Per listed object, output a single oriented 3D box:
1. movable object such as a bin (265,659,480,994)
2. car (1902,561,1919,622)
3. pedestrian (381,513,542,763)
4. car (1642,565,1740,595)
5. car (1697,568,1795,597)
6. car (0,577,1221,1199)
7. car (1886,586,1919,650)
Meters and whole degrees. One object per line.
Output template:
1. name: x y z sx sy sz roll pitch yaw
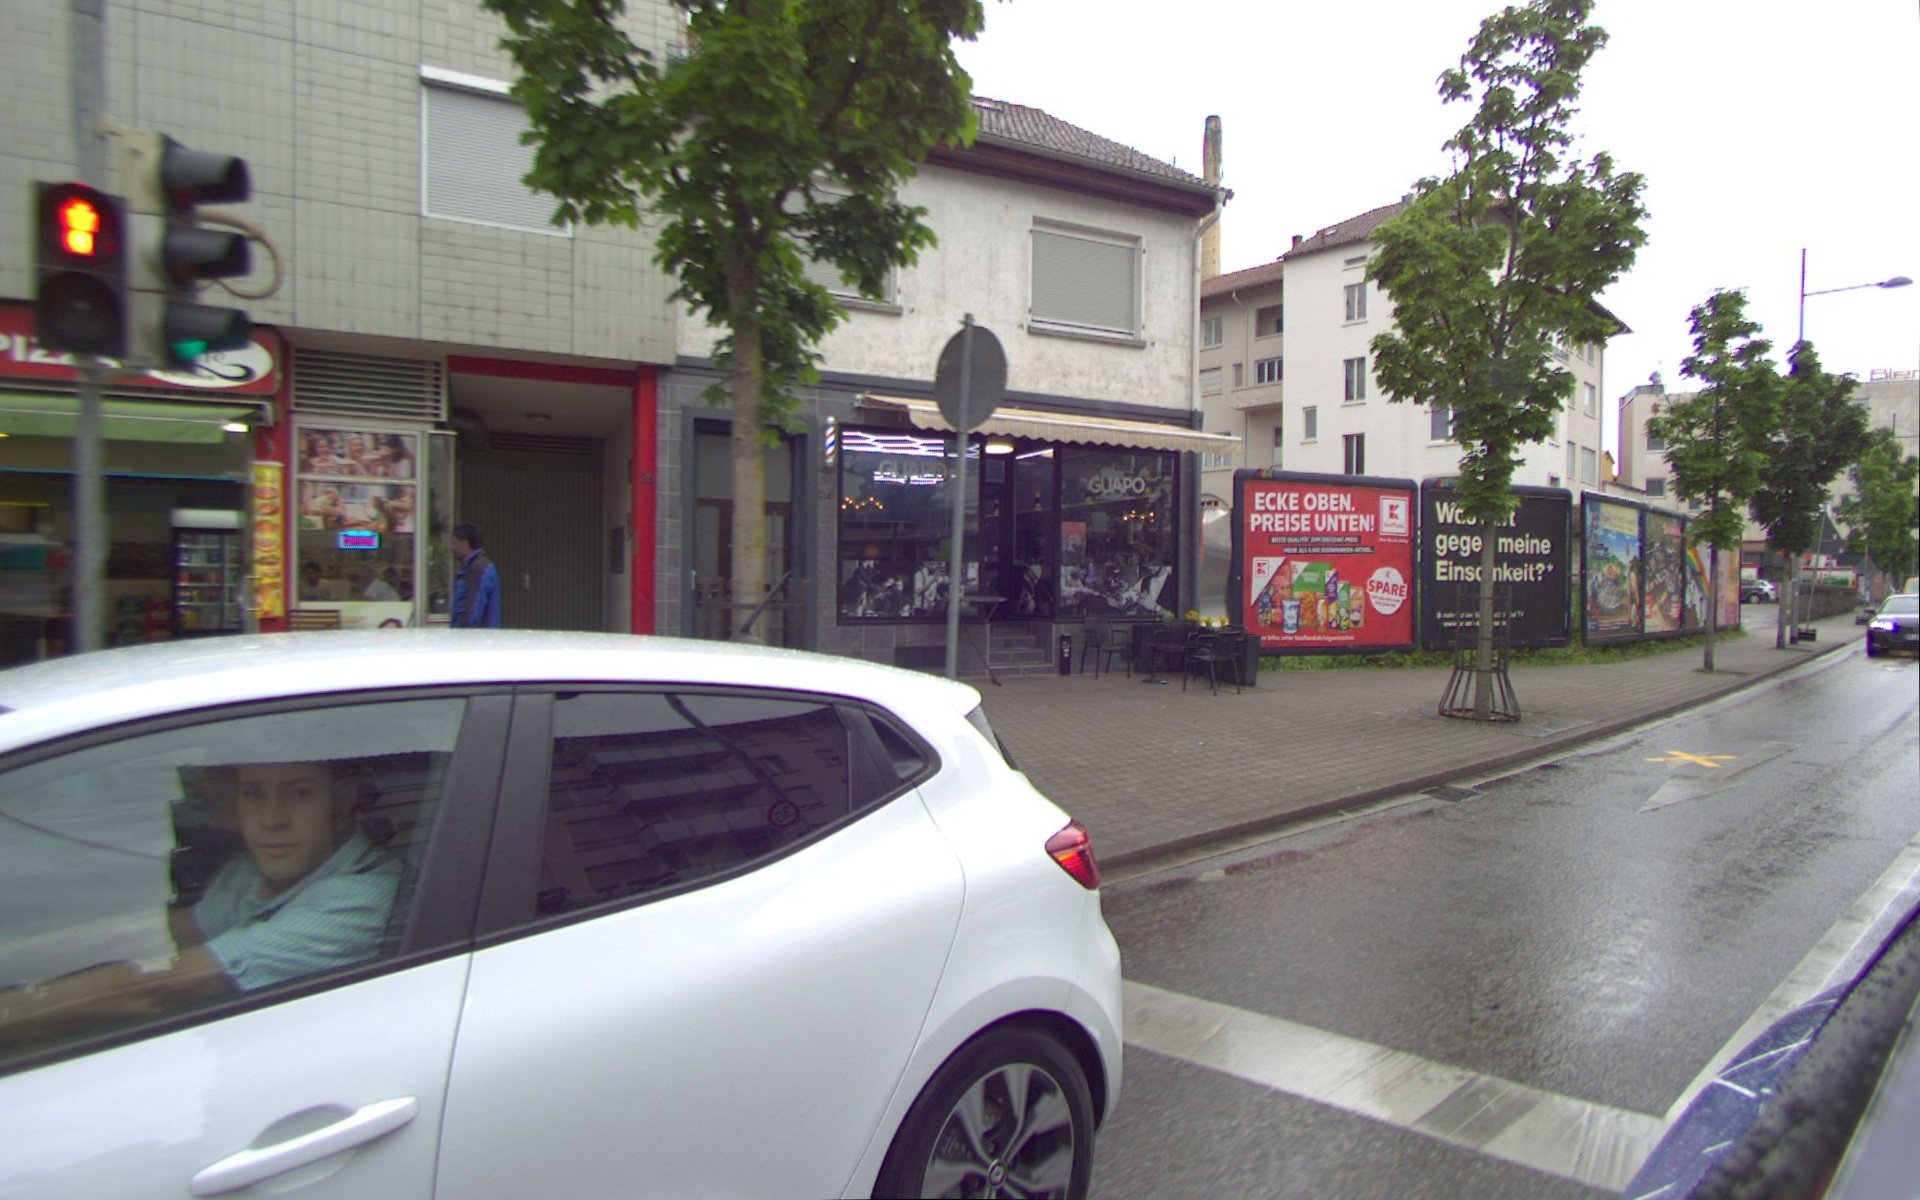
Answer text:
1. movable object such as a bin: -2.336 0.830 4.017 0.653 1.125 0.580 1 2 -37
2. car: 36.010 -0.380 36.722 5.833 2.112 2.196 -2 2 -42
3. pedestrian: -3.828 0.246 7.875 0.887 1.813 0.973 0 4 -12
4. car: 42.524 -1.158 58.941 4.170 1.595 1.943 2 0 6
5. car: 47.277 -1.050 60.951 4.178 1.595 1.939 2 0 11
6. car: -1.465 0.703 1.795 3.927 1.420 1.681 -1 3 -38
7. car: 22.814 0.392 23.505 1.808 1.356 4.210 2 2 44
